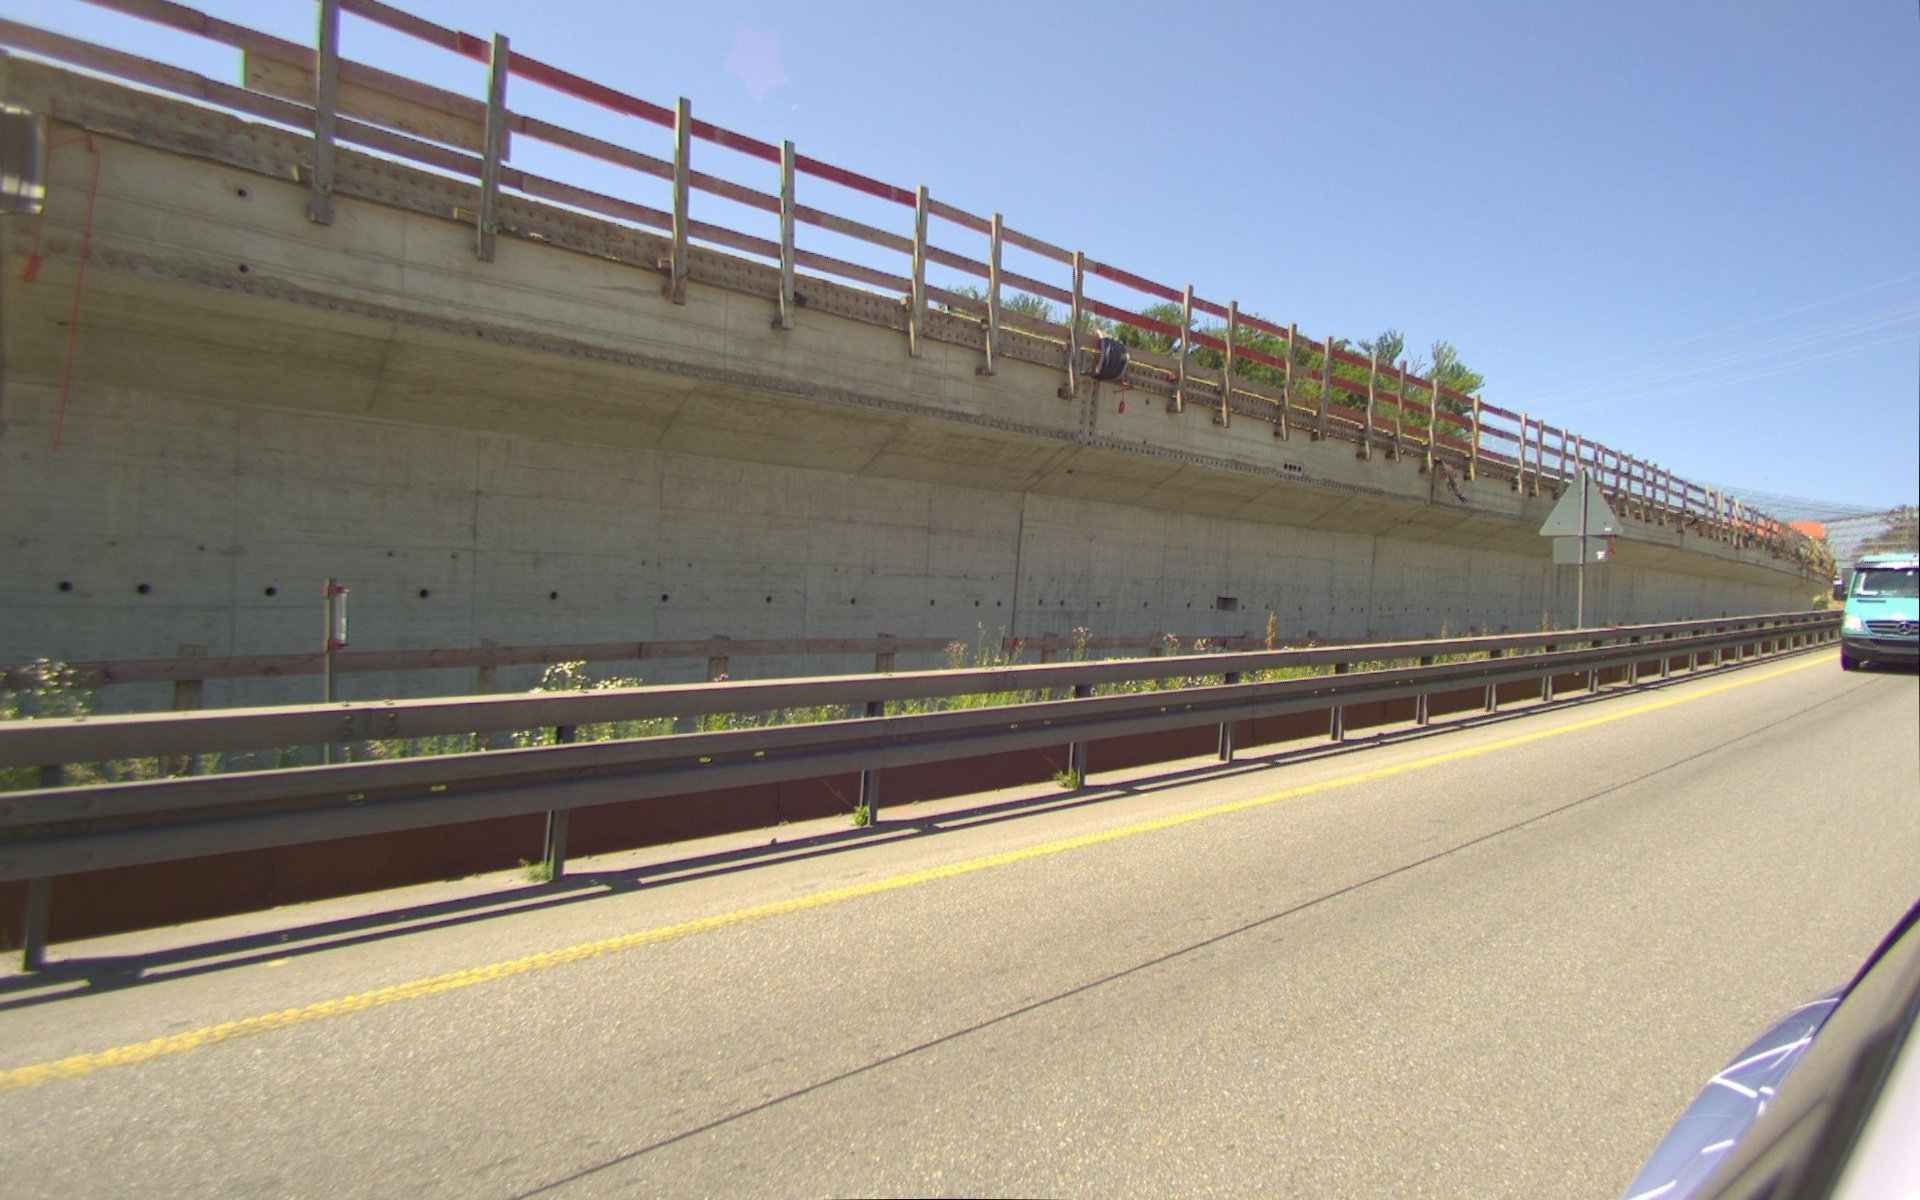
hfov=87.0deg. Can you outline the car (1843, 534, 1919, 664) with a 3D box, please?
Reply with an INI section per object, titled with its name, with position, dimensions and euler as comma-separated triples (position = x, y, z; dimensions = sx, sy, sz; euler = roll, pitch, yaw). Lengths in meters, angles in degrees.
[car]
position = 19.954, -0.082, 20.604
dimensions = 6.785, 2.354, 2.215
euler = -1, 2, -42
